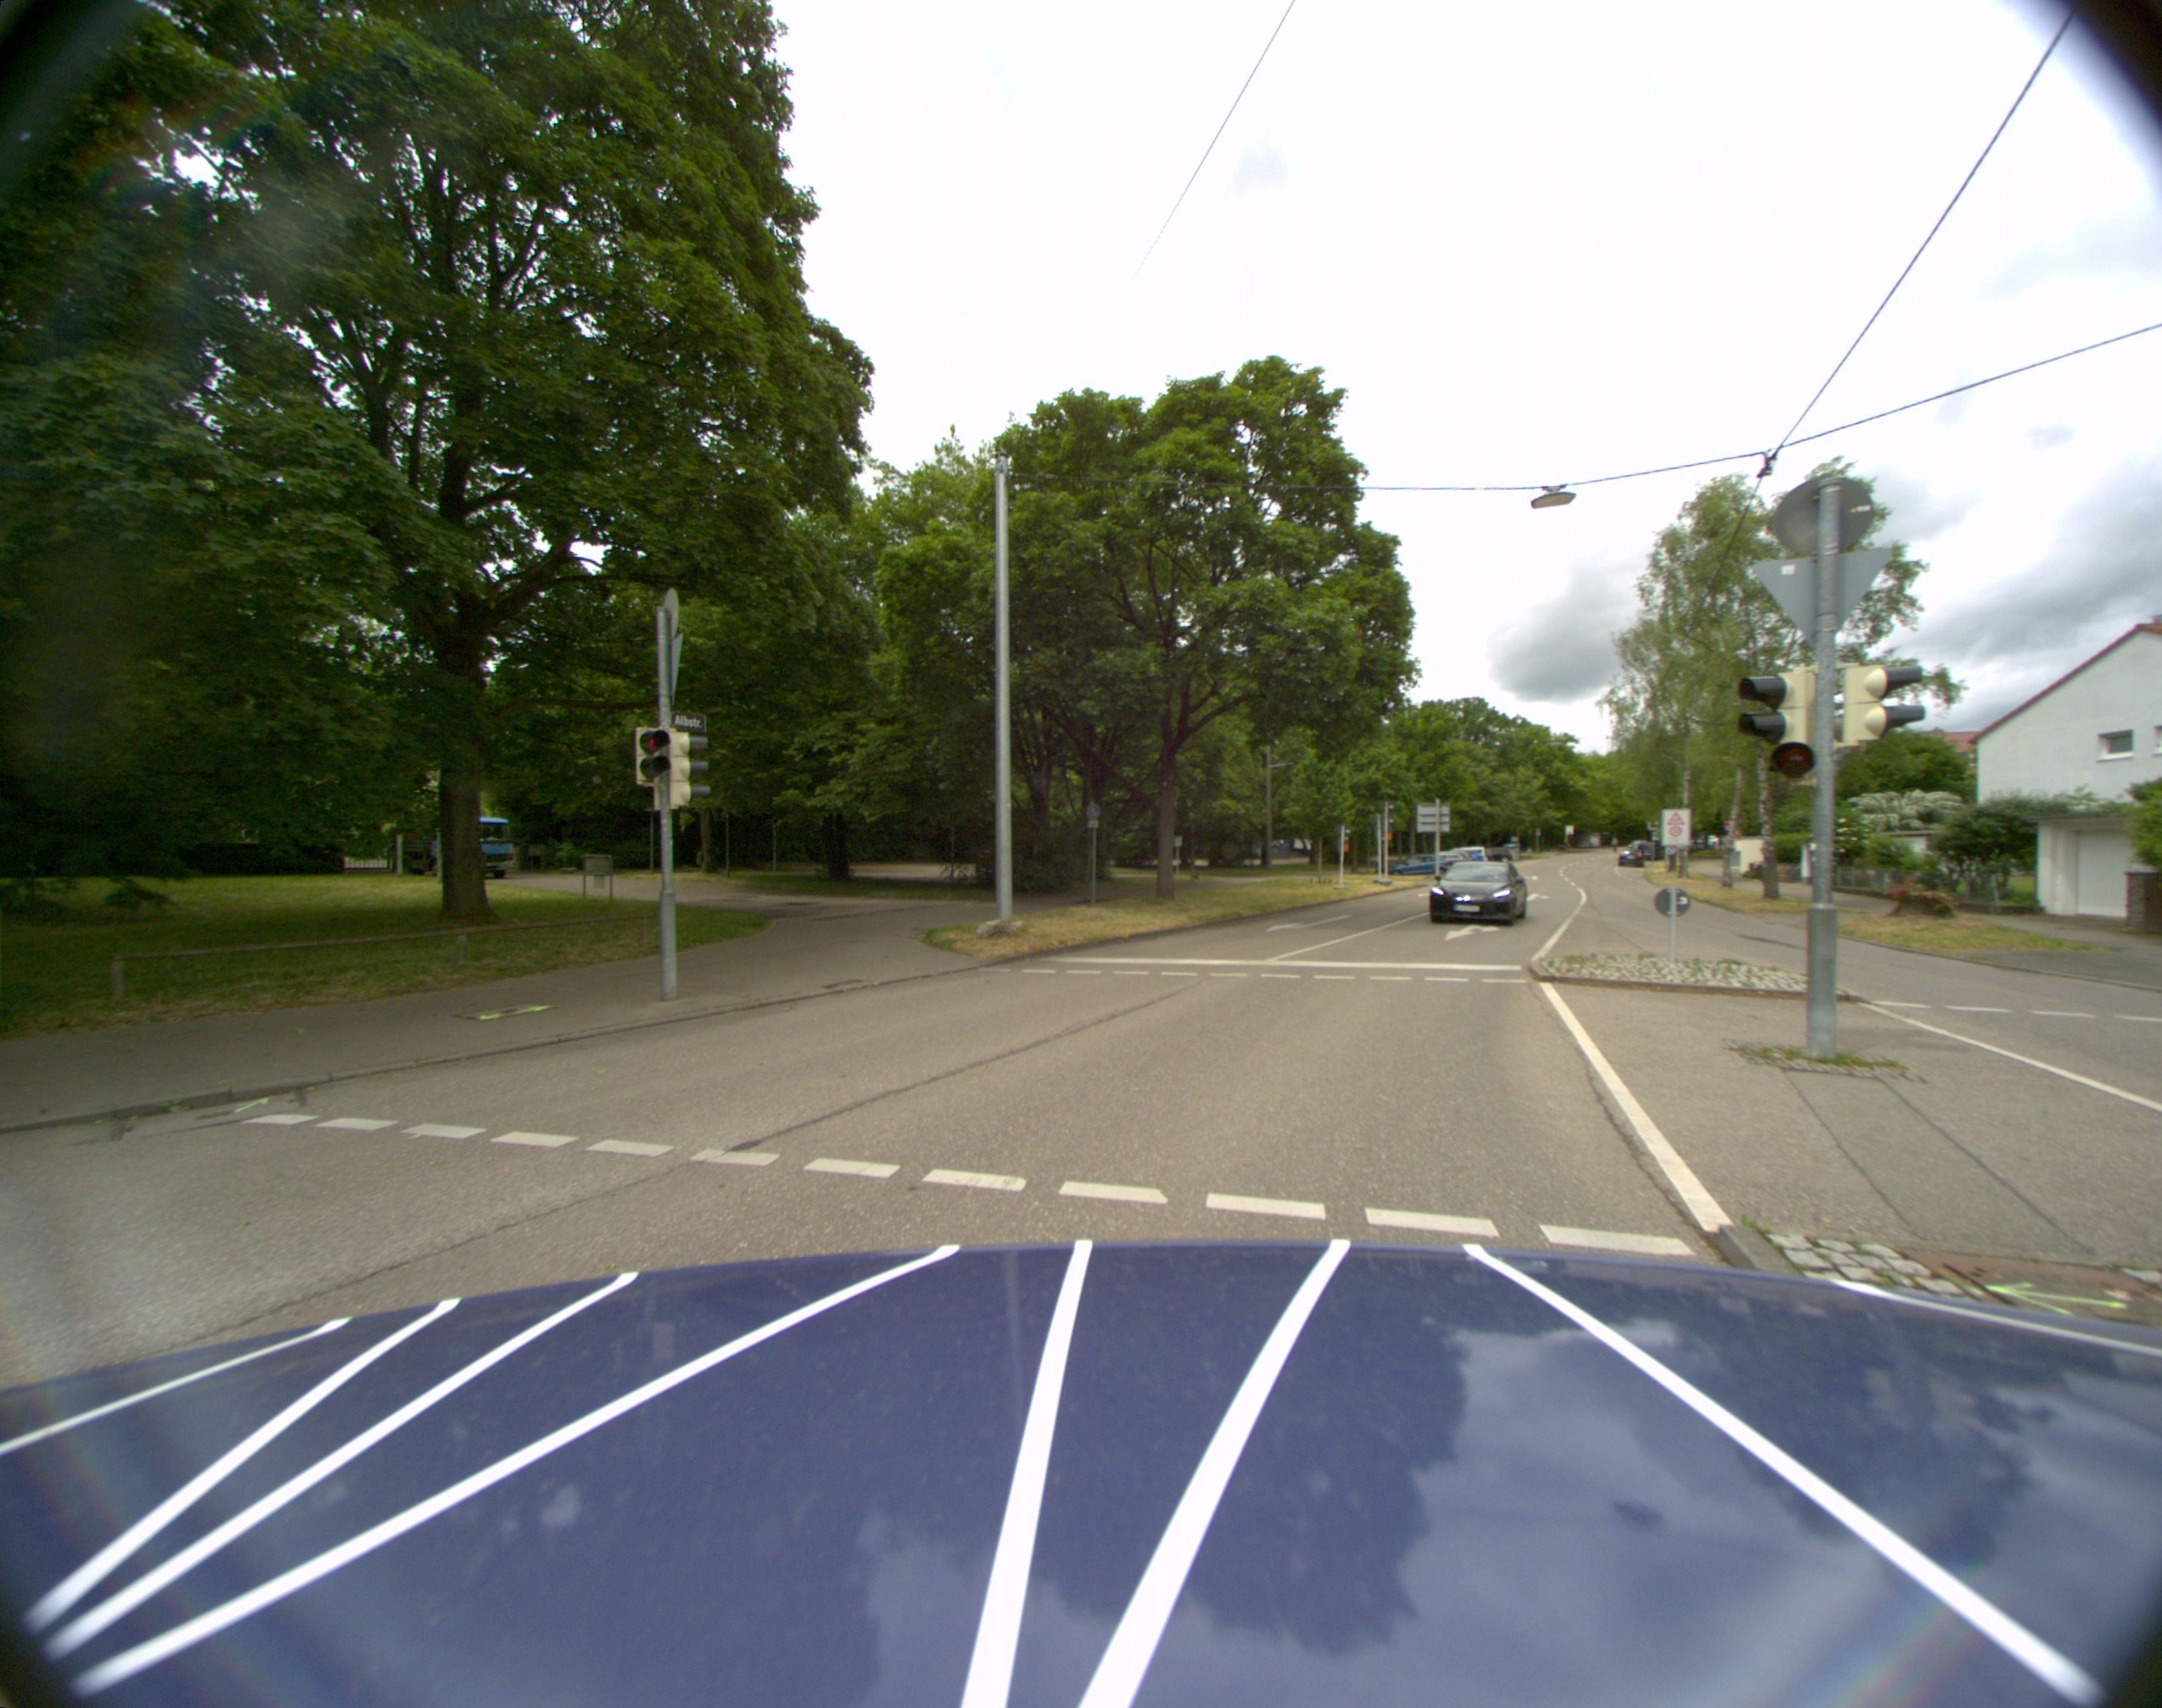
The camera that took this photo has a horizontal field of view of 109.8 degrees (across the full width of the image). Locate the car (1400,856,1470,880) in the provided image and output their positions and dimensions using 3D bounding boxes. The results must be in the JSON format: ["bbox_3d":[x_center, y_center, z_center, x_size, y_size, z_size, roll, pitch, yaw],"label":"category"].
[{"bbox_3d":[23.471,0.906,50.529,3.991,1.477,1.921,0,0,17],"label":"car"}]

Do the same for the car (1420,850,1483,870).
[{"bbox_3d":[27.827,0.455,57.239,3.991,1.477,1.921,0,0,17],"label":"car"}]

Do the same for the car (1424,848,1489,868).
[{"bbox_3d":[30.372,0.301,61.559,4.411,1.599,2.002,0,0,12],"label":"car"}]

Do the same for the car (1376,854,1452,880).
[{"bbox_3d":[20.217,0.763,46.278,3.992,1.477,1.920,1,1,14],"label":"car"}]

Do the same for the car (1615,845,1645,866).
[{"bbox_3d":[48.148,0.080,66.618,1.970,1.600,4.427,2,3,38],"label":"car"}]

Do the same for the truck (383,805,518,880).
[{"bbox_3d":[-26.430,-0.401,31.754,7.411,2.830,2.488,0,0,35],"label":"truck"}]

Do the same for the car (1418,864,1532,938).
[{"bbox_3d":[9.957,1.080,19.054,1.994,1.608,4.008,-1,-1,35],"label":"car"}]

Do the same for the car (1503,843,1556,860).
[{"bbox_3d":[44.766,-0.219,76.004,4.407,1.599,2.004,0,0,26],"label":"car"}]

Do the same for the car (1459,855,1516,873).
[{"bbox_3d":[37.477,0.940,70.165,4.409,1.599,2.003,0,0,20],"label":"car"}]
